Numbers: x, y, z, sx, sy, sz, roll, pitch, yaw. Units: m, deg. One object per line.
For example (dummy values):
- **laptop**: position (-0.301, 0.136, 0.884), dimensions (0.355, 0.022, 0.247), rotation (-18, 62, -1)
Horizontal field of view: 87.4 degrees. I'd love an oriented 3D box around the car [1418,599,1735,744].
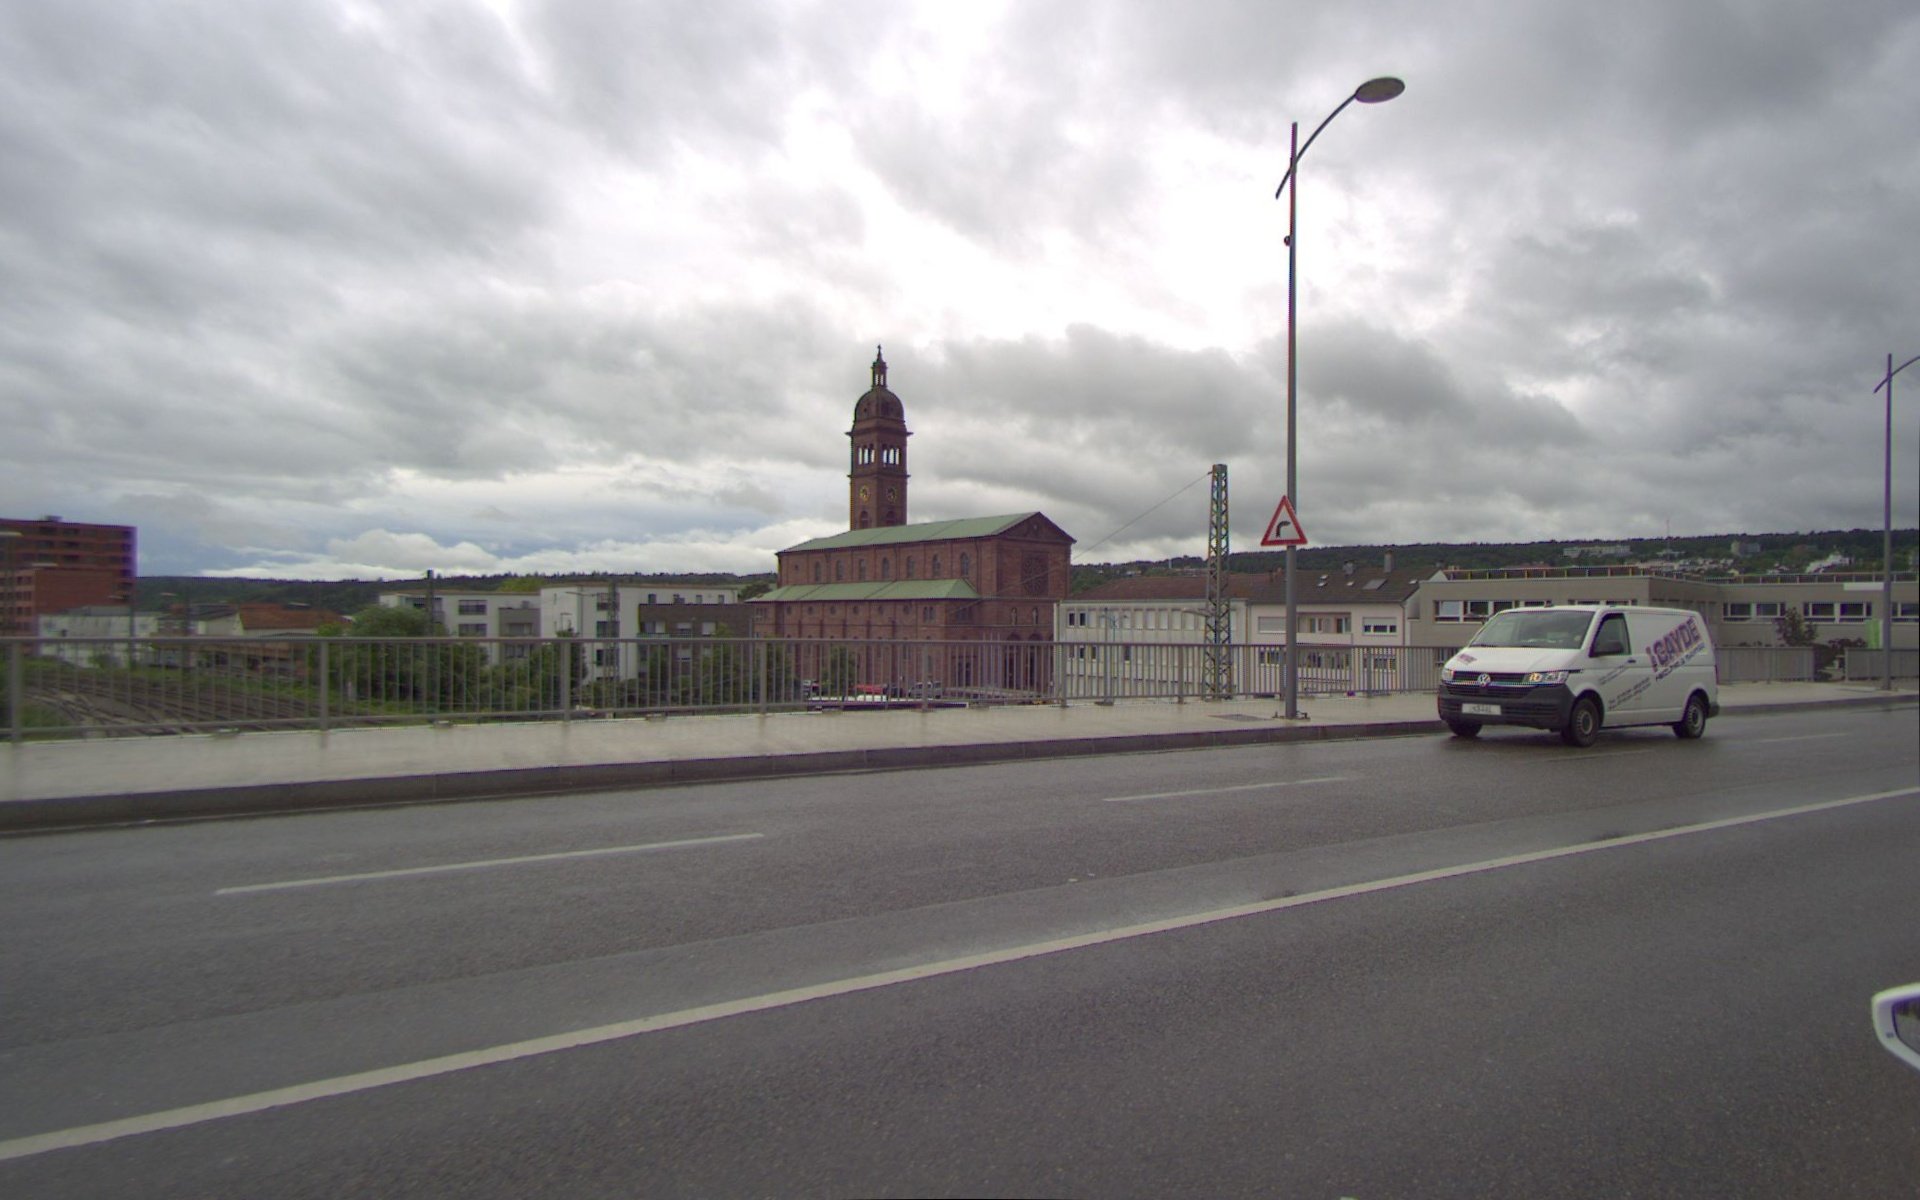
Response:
- **car**: position (9.159, 1.026, 14.828), dimensions (4.899, 1.846, 1.878), rotation (2, -3, -30)
